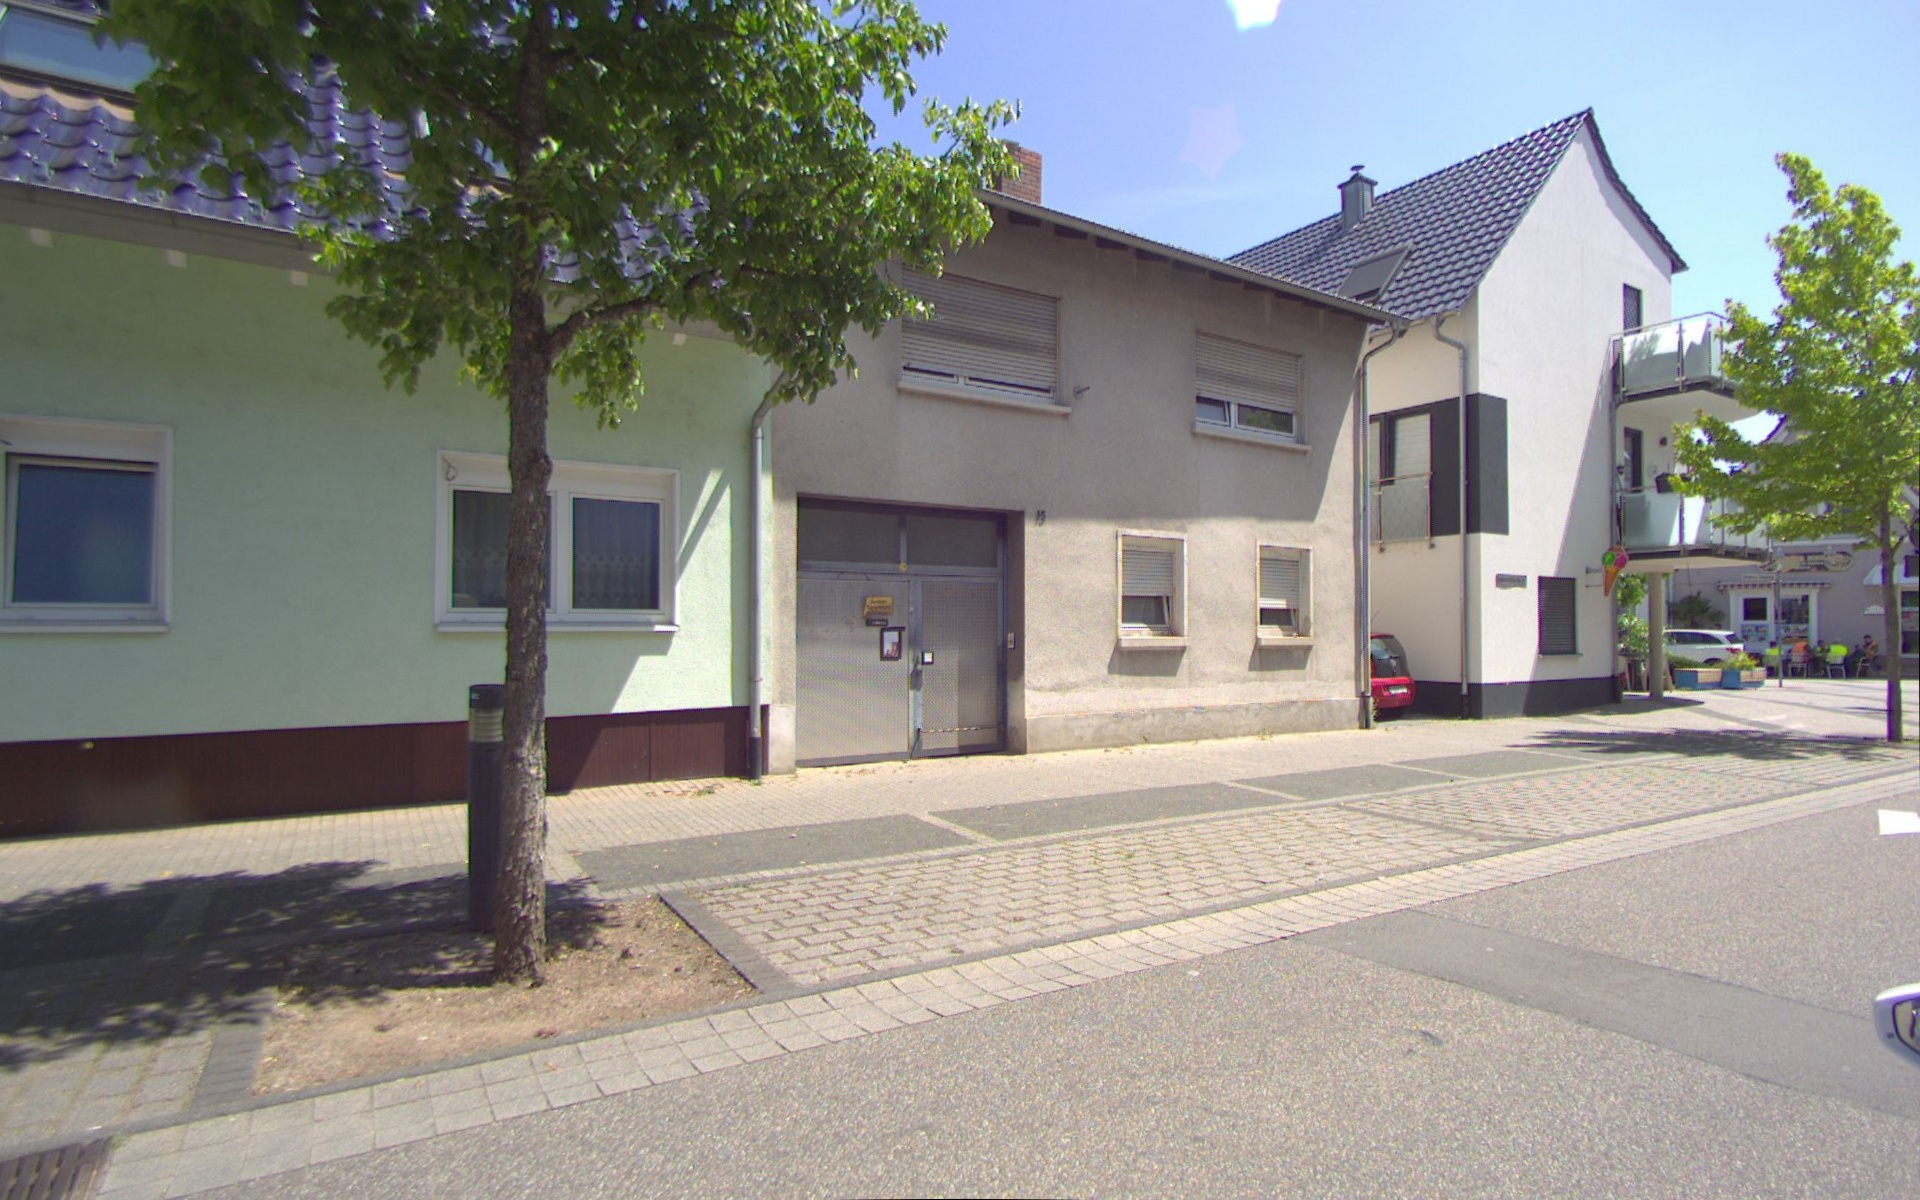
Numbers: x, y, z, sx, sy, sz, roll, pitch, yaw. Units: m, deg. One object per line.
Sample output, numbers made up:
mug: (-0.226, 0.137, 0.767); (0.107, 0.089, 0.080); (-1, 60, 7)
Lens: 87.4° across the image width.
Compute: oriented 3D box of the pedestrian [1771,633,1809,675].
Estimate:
pedestrian: (26.906, 1.738, 32.577); (0.623, 1.306, 0.790); (2, 1, 15)

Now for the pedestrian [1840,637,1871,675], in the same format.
pedestrian: (28.383, 1.763, 31.837); (0.690, 1.194, 0.617); (1, -2, -36)

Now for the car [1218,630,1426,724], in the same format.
car: (6.232, 1.262, 17.528); (1.572, 1.462, 3.092); (1, -2, -36)

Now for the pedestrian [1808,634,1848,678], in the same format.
pedestrian: (27.304, 1.745, 31.611); (0.623, 1.306, 0.790); (2, 1, 15)

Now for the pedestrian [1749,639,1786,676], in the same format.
pedestrian: (25.965, 1.847, 32.291); (0.623, 1.131, 0.790); (2, 1, 15)

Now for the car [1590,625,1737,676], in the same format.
car: (23.451, 1.637, 33.558); (3.872, 1.566, 1.510); (-1, 0, 42)
